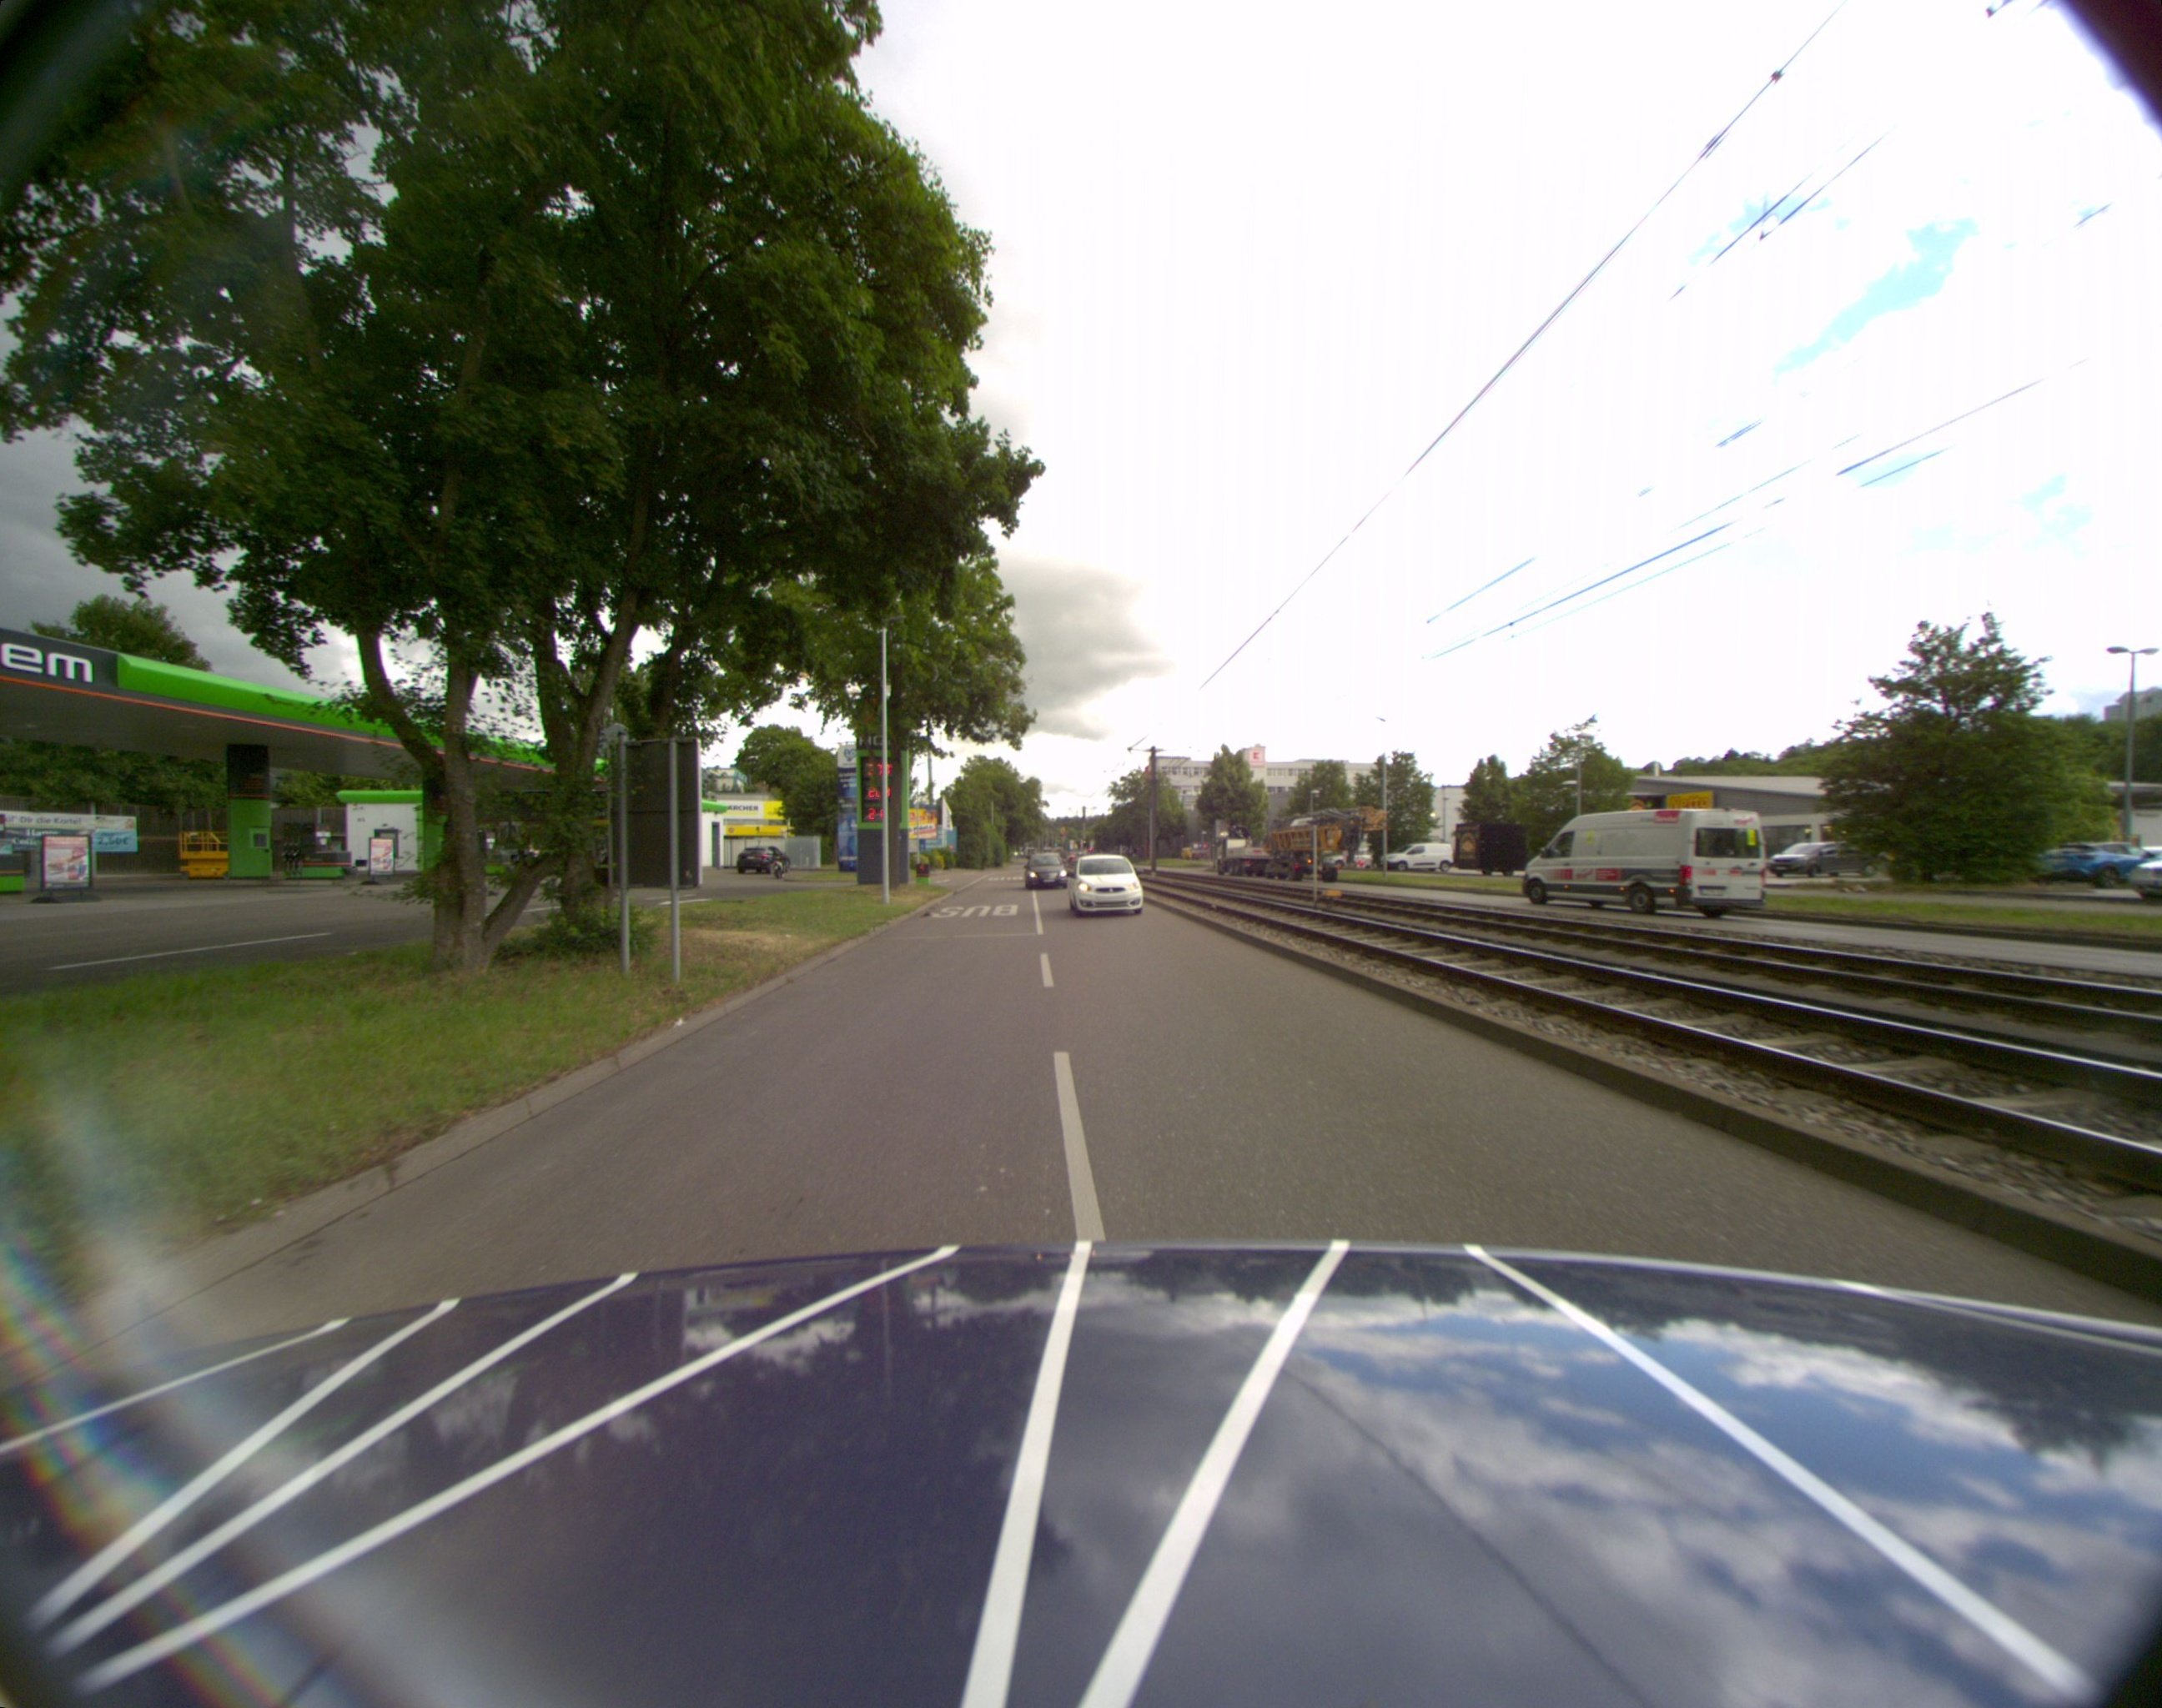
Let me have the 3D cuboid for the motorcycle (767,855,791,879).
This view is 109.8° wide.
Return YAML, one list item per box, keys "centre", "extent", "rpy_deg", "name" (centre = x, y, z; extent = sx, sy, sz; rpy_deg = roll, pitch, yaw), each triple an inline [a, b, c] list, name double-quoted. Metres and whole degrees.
- centre: [-15.714, 0.650, 39.603]
  extent: [0.705, 1.180, 2.386]
  rpy_deg: [0, 0, -10]
  name: "motorcycle"

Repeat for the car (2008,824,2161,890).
- centre: [34.611, 0.067, 25.984]
  extent: [3.739, 2.002, 1.951]
  rpy_deg: [-3, 1, -6]
  name: "car"

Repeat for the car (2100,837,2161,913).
- centre: [24.050, 0.363, 15.535]
  extent: [3.998, 1.498, 2.001]
  rpy_deg: [-3, 1, -4]
  name: "car"

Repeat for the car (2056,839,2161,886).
- centre: [40.306, 0.301, 29.213]
  extent: [3.739, 1.613, 1.722]
  rpy_deg: [-3, 1, -6]
  name: "car"

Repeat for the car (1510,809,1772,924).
- centre: [13.882, 0.272, 19.525]
  extent: [1.874, 2.484, 5.996]
  rpy_deg: [1, 0, -5]
  name: "car"

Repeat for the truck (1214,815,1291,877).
- centre: [11.660, -0.493, 52.628]
  extent: [2.900, 3.943, 8.627]
  rpy_deg: [0, 0, -4]
  name: "truck"

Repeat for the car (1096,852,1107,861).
- centre: [4.874, 0.577, 184.136]
  extent: [1.999, 2.002, 3.997]
  rpy_deg: [-3, 1, -6]
  name: "car"

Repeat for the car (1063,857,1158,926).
- centre: [0.626, 0.848, 19.105]
  extent: [1.787, 1.435, 3.997]
  rpy_deg: [-3, 1, -6]
  name: "car"

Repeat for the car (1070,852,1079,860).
- centre: [-1.887, 0.548, 213.489]
  extent: [1.999, 2.002, 3.997]
  rpy_deg: [-3, 1, -6]
  name: "car"

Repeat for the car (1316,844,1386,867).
- centre: [20.659, 0.091, 58.317]
  extent: [4.613, 1.484, 2.000]
  rpy_deg: [-3, 1, -1]
  name: "car"

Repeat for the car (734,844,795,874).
- centre: [-18.716, 0.254, 45.151]
  extent: [1.999, 1.629, 4.325]
  rpy_deg: [2, 0, -3]
  name: "car"

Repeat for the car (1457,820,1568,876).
- centre: [22.265, -0.297, 39.334]
  extent: [4.483, 2.733, 2.288]
  rpy_deg: [1, 1, -4]
  name: "car"

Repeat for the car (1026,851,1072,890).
- centre: [-1.518, 0.707, 35.085]
  extent: [1.787, 1.614, 3.997]
  rpy_deg: [-3, 1, -6]
  name: "car"

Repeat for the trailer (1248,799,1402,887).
- centre: [12.509, -0.520, 41.142]
  extent: [2.679, 3.874, 14.419]
  rpy_deg: [1, 0, -4]
  name: "trailer"

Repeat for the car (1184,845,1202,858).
- centre: [17.804, -0.398, 120.811]
  extent: [1.999, 2.002, 3.998]
  rpy_deg: [0, 0, -5]
  name: "car"

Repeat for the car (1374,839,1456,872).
- centre: [21.418, 0.084, 48.858]
  extent: [4.357, 1.908, 2.000]
  rpy_deg: [-3, 1, -1]
  name: "car"

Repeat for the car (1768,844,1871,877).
- centre: [39.478, 0.335, 40.668]
  extent: [3.998, 1.498, 1.776]
  rpy_deg: [-3, 1, -5]
  name: "car"
